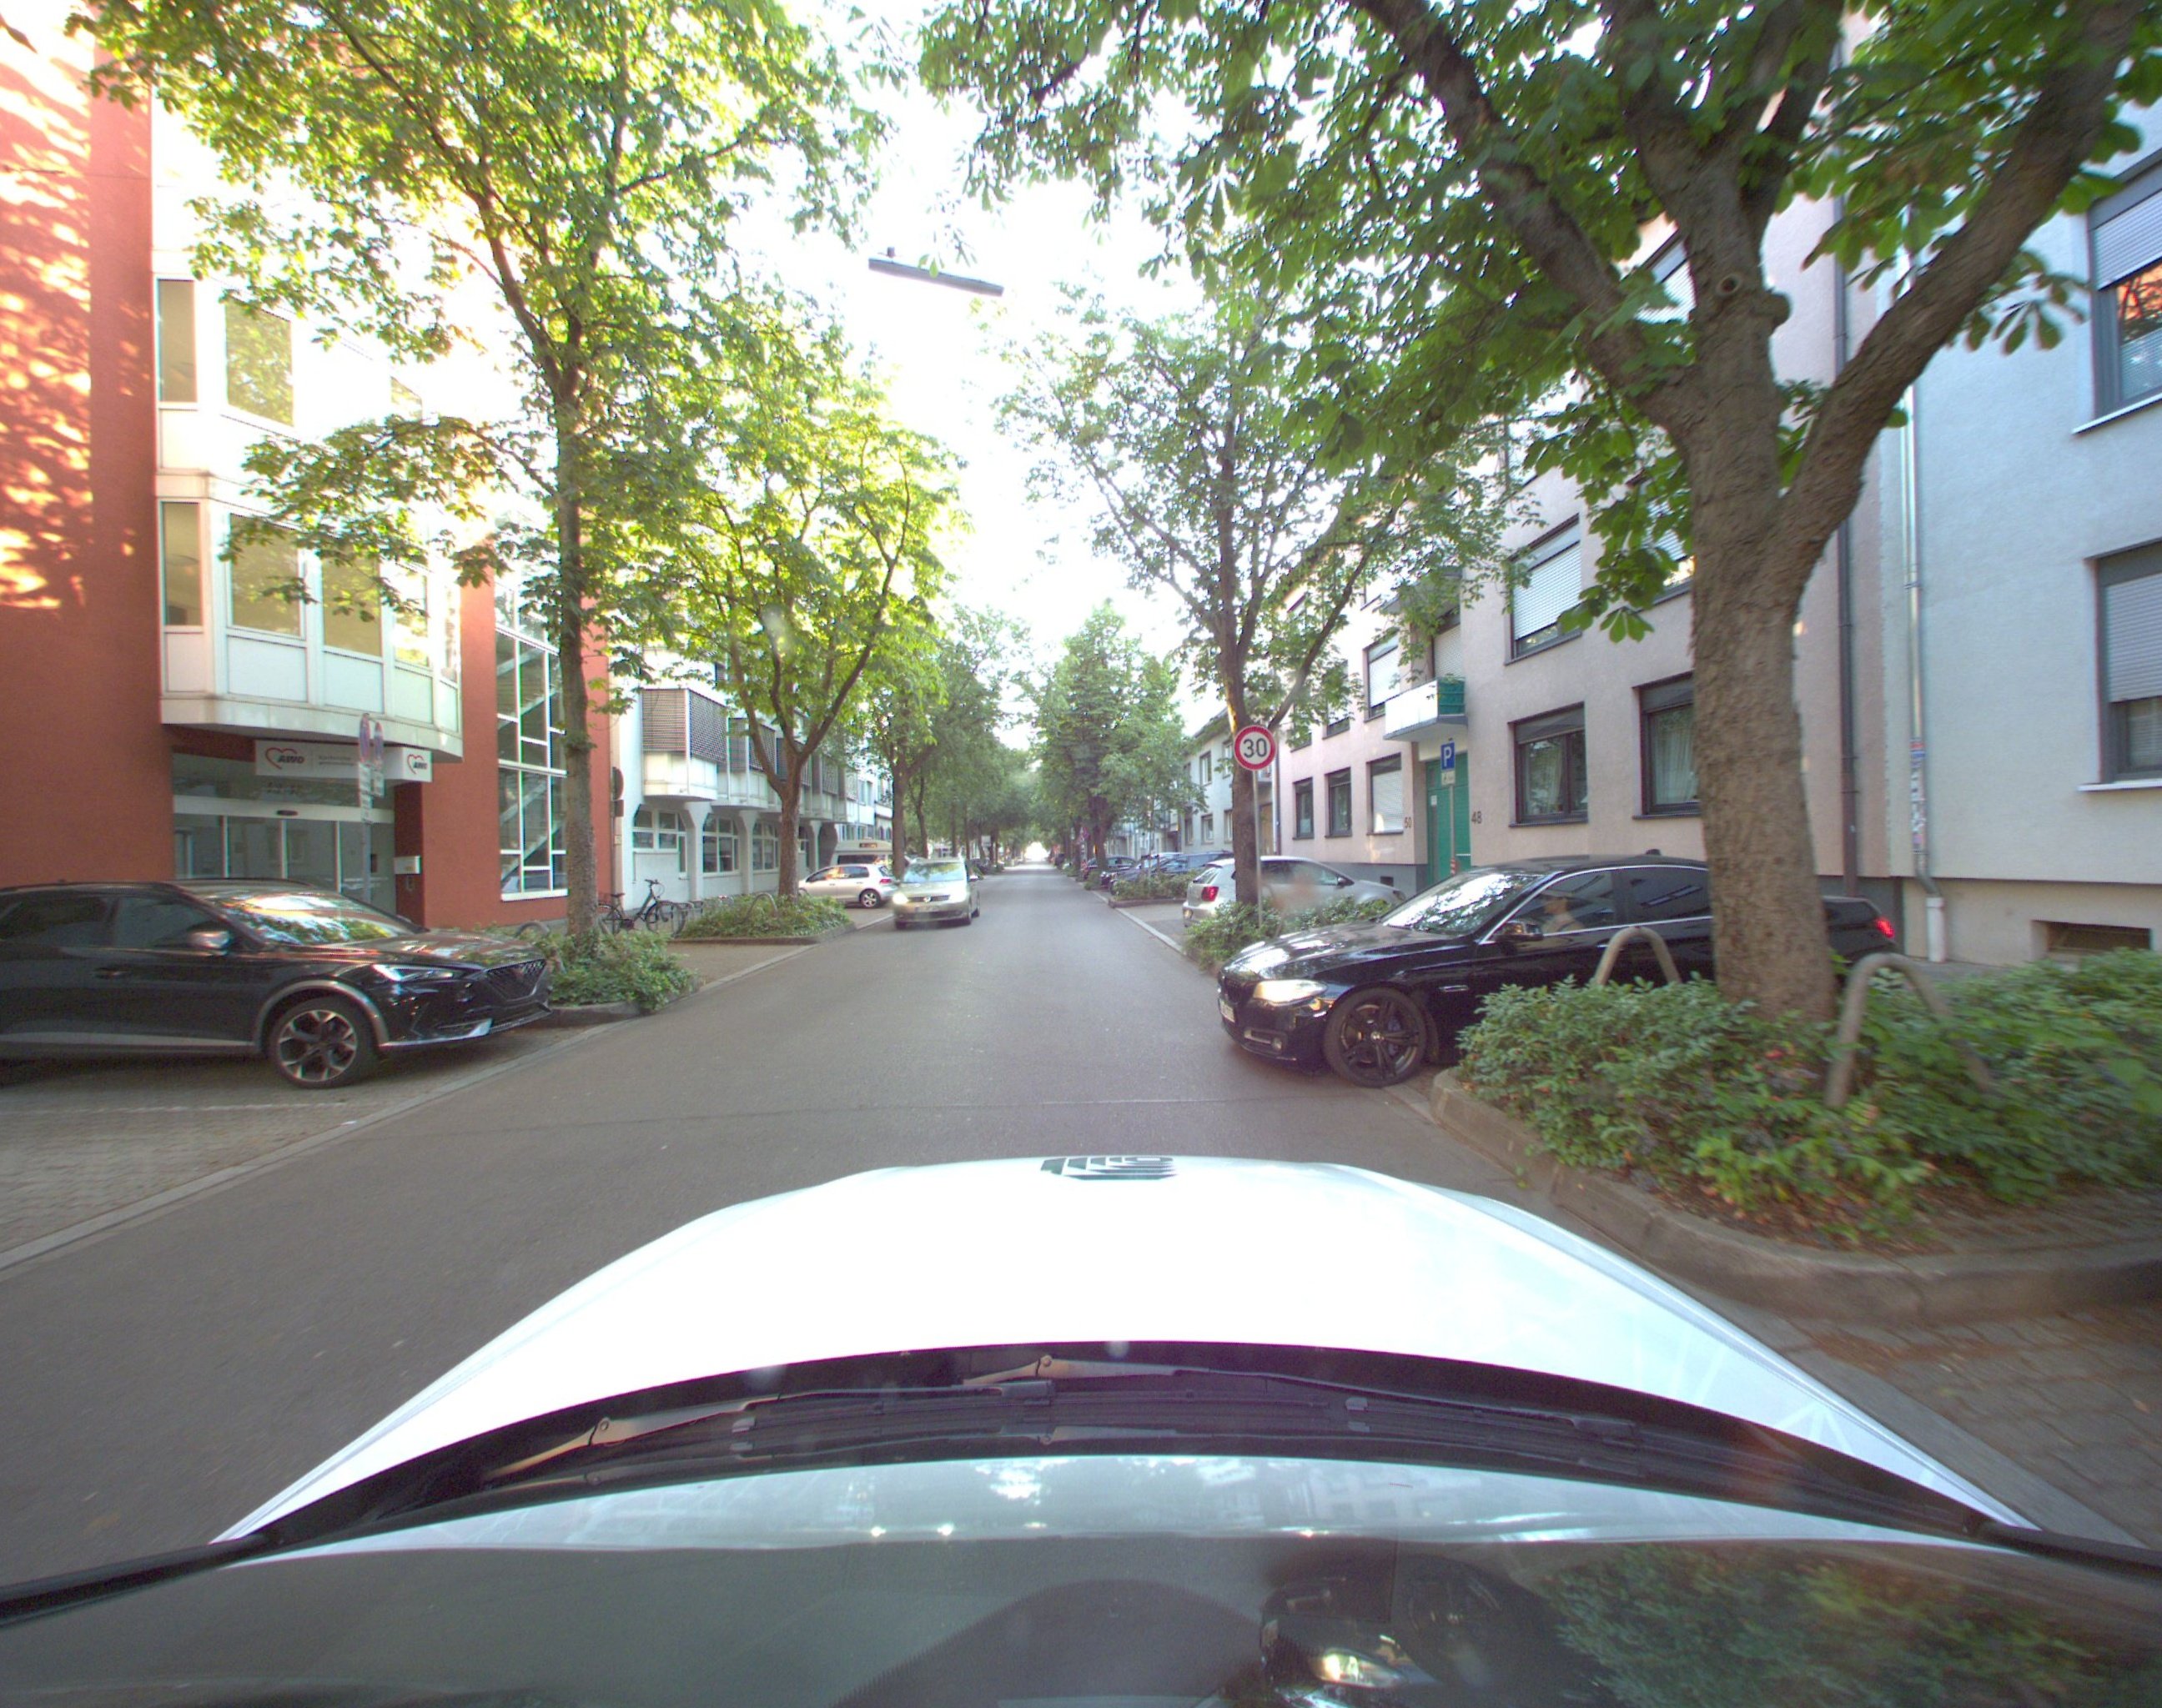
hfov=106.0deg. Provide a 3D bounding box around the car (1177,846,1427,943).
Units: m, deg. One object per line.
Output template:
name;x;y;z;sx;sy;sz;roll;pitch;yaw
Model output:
car;3.782;0.666;14.332;3.903;1.476;1.662;-2;0;-5

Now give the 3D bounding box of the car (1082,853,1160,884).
car;2.088;0.751;43.362;3.960;1.527;1.783;-2;0;-4

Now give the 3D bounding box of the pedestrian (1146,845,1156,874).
pedestrian;4.865;0.385;56.388;0.587;2.013;0.669;-1;0;-2

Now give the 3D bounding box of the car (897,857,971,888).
car;-8.433;1.055;46.965;3.958;1.619;1.783;-2;0;-3

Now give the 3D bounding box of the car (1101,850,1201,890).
car;2.929;0.669;34.493;3.960;1.527;1.783;-2;0;-4

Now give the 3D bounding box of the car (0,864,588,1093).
car;-6.852;0.917;6.747;4.345;1.517;1.783;-2;0;-4

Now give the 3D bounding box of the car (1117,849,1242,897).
car;3.332;0.632;27.977;3.961;1.476;1.782;-2;0;-5

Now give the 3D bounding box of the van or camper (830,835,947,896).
van or camper;-8.403;0.489;35.953;4.654;2.478;1.998;-1;0;-4

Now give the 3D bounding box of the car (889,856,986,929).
car;-3.440;0.854;20.218;1.775;1.562;4.164;-1;0;-2

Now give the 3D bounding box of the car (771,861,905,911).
car;-8.163;1.054;27.606;3.958;1.517;1.783;-2;0;-3

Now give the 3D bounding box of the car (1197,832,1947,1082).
car;3.419;0.652;6.244;4.734;1.480;1.798;-1;0;-3

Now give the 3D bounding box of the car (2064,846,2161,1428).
car;4.386;0.615;1.458;3.606;1.363;1.661;-2;0;-7

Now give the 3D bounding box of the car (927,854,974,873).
car;-12.031;0.898;75.267;3.958;1.619;1.784;-2;0;-2

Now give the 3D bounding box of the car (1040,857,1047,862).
car;-10.584;1.524;231.534;1.818;1.531;3.996;-1;0;-2

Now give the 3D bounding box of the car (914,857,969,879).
car;-10.827;1.090;63.583;3.958;1.619;1.784;-2;0;-2

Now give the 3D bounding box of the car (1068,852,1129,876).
car;1.190;0.675;55.298;3.961;1.527;1.782;-2;0;-5

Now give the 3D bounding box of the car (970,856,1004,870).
car;-11.666;1.104;101.144;3.958;1.619;1.784;-2;0;-2

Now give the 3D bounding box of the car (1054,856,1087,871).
car;-1.273;1.099;99.458;3.958;1.684;1.784;-2;0;-2
